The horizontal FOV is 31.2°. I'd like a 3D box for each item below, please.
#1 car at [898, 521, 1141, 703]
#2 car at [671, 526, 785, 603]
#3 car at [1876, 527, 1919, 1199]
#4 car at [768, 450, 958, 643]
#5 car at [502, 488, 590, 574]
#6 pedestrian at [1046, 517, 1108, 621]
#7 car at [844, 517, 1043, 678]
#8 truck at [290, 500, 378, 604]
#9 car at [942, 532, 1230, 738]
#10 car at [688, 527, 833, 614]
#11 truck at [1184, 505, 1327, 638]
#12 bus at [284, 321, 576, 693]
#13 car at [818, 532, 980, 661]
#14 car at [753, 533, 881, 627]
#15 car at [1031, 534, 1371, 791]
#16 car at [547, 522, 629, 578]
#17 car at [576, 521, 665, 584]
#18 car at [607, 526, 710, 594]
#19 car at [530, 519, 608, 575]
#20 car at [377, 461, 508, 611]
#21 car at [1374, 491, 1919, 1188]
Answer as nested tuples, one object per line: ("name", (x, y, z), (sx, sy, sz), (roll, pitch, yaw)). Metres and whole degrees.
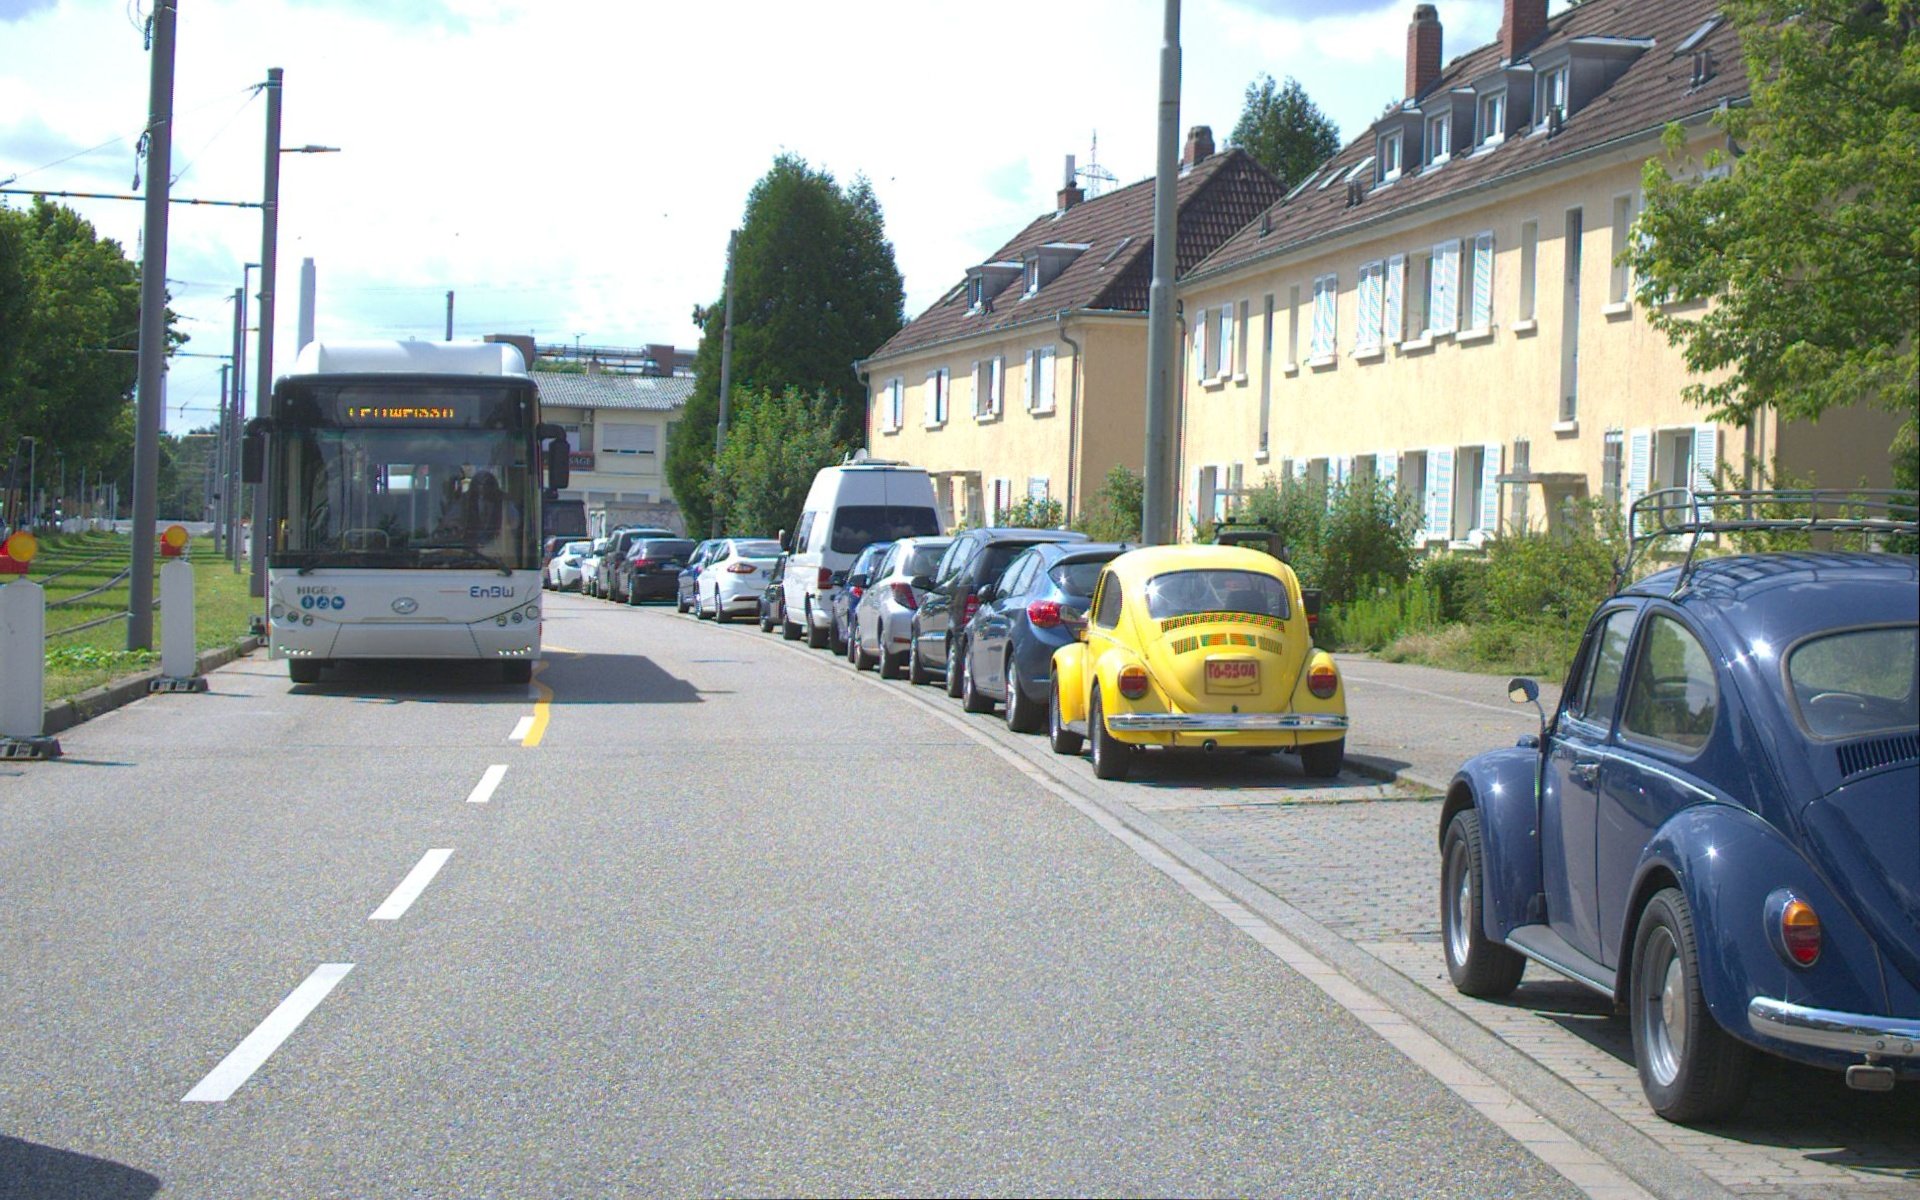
("car", (0.515, 0.071, 33.392), (1.636, 1.597, 3.933), (2, 1, -9))
("car", (-4.446, -0.696, 65.491), (1.620, 1.412, 4.001), (0, 1, -12))
("car", (2.843, 0.670, 5.144), (1.577, 1.507, 4.460), (2, 1, -2))
("car", (-1.413, -0.749, 47.442), (1.929, 2.472, 5.519), (1, 1, -8))
("car", (-12.205, -2.045, 101.110), (1.959, 2.470, 6.062), (0, 1, -13))
("pedestrian", (1.912, -0.510, 56.290), (0.853, 1.646, 0.637), (2, 1, -6))
("car", (-0.238, -0.074, 37.439), (1.636, 1.597, 4.030), (2, 1, -7))
("truck", (-21.512, -1.693, 117.919), (2.559, 3.447, 7.152), (0, 1, -14))
("car", (0.940, 0.225, 27.931), (1.636, 1.477, 4.125), (2, 1, -7))
("car", (-3.525, -0.517, 59.987), (1.798, 1.453, 4.767), (0, 1, -12))
("truck", (3.900, -0.390, 45.682), (1.346, 1.683, 2.442), (2, 1, -8))
("bus", (-5.691, -0.994, 37.755), (2.635, 3.401, 12.252), (0, 1, -8))
("car", (-0.788, -0.078, 42.123), (1.536, 1.440, 3.738), (2, 1, -7))
("car", (-2.198, -0.311, 52.281), (1.340, 1.336, 3.289), (2, 0, -12))
("car", (1.507, 0.338, 22.800), (1.636, 1.477, 3.932), (-1, 2, -5))
("car", (-9.779, -1.328, 90.103), (1.763, 1.435, 4.001), (0, 1, -12))
("car", (-8.325, -1.174, 84.039), (1.763, 1.471, 4.001), (0, 1, -12))
("car", (-6.527, -0.874, 74.168), (1.763, 1.412, 4.001), (0, 1, -12))
("car", (-10.839, -1.474, 95.134), (1.763, 1.497, 4.001), (0, 1, -12))
("car", (-9.114, -1.133, 60.679), (2.102, 2.435, 5.573), (2, 1, -8))
("car", (2.461, 0.543, 10.273), (1.548, 1.635, 4.247), (2, 1, -5))
